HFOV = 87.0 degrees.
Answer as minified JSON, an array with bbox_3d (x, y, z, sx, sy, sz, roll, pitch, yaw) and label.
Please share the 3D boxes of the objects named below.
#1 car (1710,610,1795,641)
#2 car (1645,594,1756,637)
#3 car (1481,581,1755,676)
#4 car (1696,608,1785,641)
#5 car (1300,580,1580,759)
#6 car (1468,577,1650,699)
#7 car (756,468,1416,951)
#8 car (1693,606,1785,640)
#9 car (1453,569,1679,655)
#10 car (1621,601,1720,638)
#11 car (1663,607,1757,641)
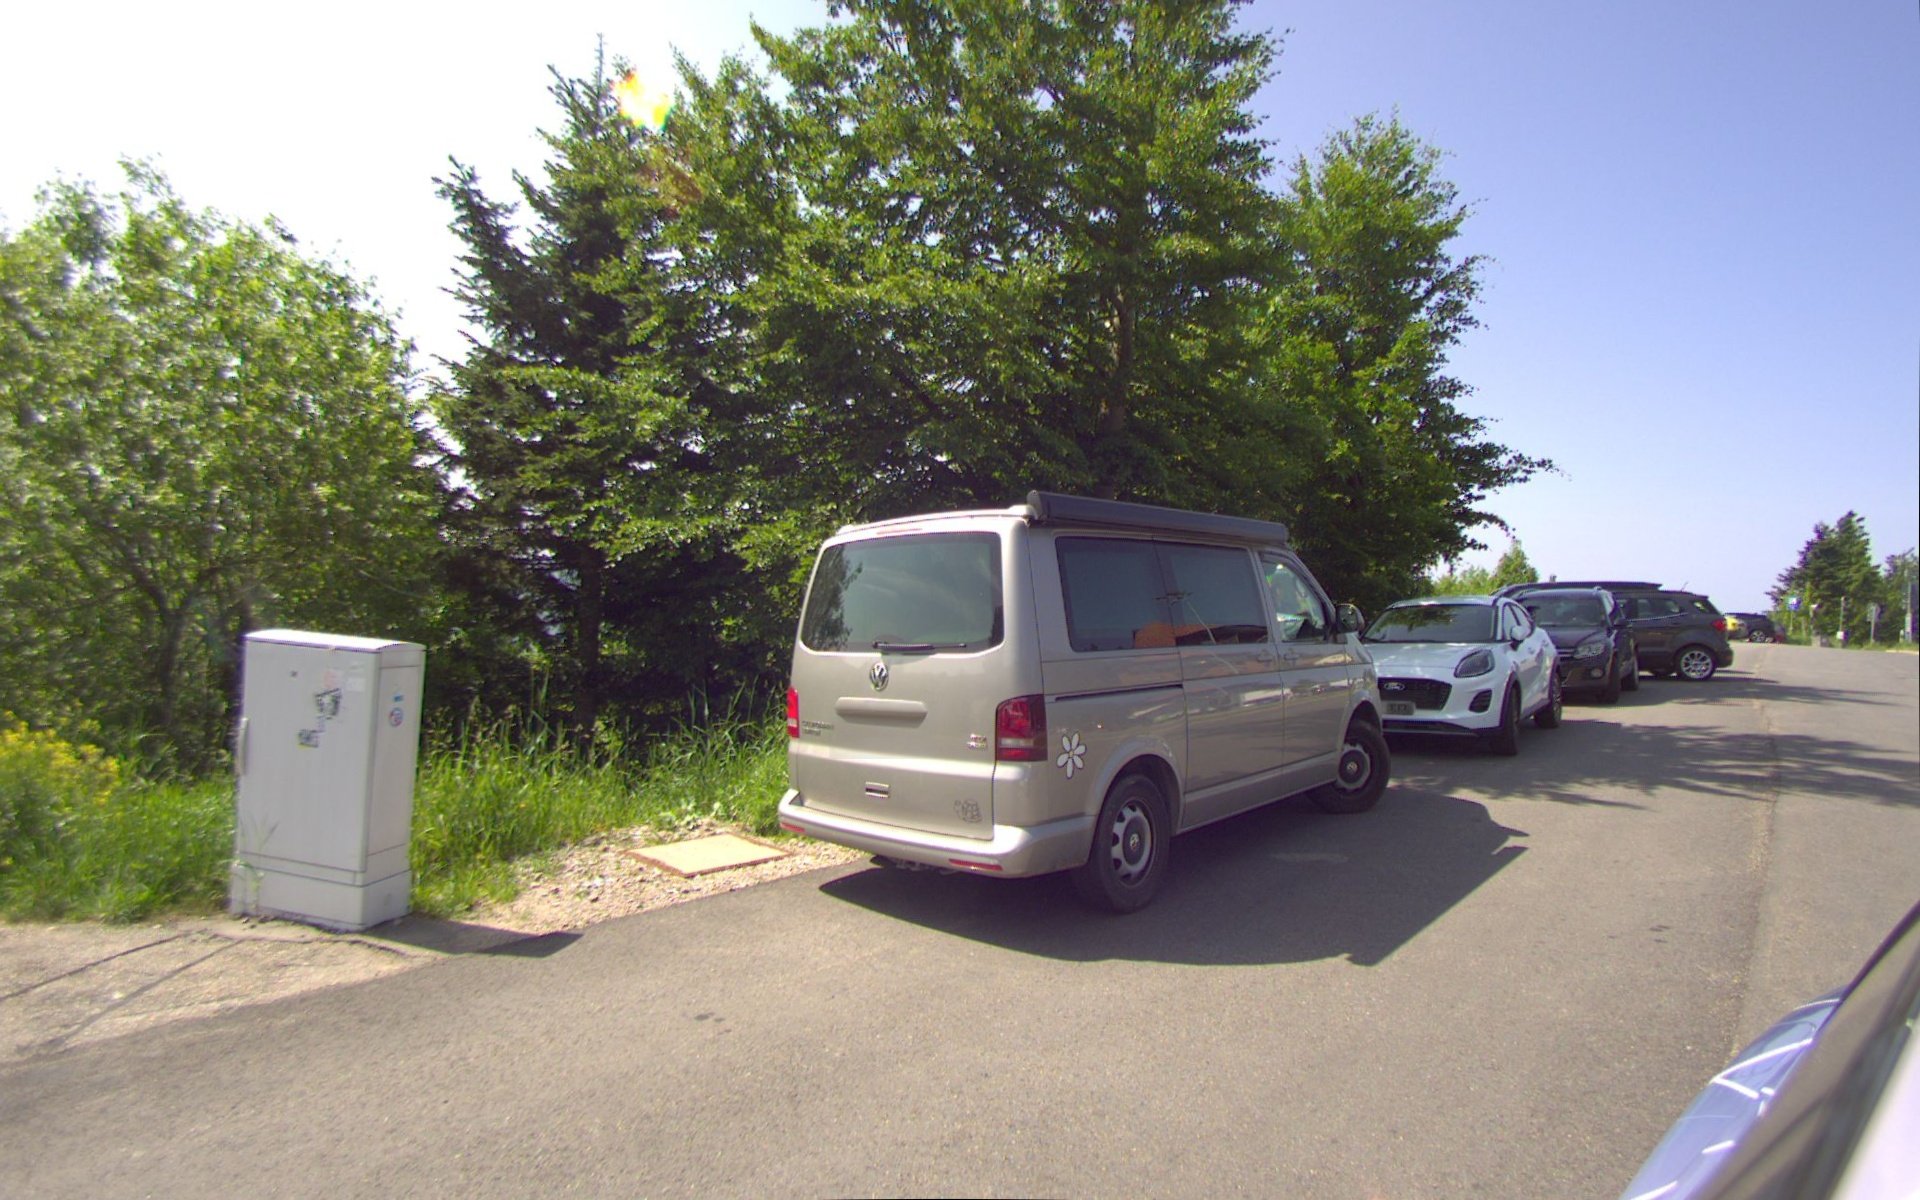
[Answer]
[{"bbox_3d":[48.085,1.517,61.423,3.900,1.634,1.847,4,2,43],"label":"car"},{"bbox_3d":[38.731,0.761,52.979,4.446,1.949,1.847,4,2,43],"label":"car"},{"bbox_3d":[12.172,0.527,19.059,3.951,1.639,1.863,-1,-1,21],"label":"car"},{"bbox_3d":[45.209,1.366,58.640,3.900,1.634,1.847,4,2,43],"label":"car"},{"bbox_3d":[5.341,0.625,11.003,1.867,1.567,3.943,-1,-1,39],"label":"car"},{"bbox_3d":[9.356,0.523,15.670,1.867,1.639,3.943,-1,-1,39],"label":"car"},{"bbox_3d":[1.125,0.470,6.431,1.856,1.960,4.537,-2,-2,43],"label":"car"},{"bbox_3d":[43.578,1.254,56.653,3.900,1.634,1.847,4,2,43],"label":"car"},{"bbox_3d":[14.572,0.309,24.658,4.406,1.950,1.863,-1,-1,21],"label":"car"},{"bbox_3d":[36.212,0.942,51.624,3.900,1.634,1.847,4,2,43],"label":"car"},{"bbox_3d":[40.924,1.276,55.261,3.900,1.634,1.847,4,2,43],"label":"car"}]
